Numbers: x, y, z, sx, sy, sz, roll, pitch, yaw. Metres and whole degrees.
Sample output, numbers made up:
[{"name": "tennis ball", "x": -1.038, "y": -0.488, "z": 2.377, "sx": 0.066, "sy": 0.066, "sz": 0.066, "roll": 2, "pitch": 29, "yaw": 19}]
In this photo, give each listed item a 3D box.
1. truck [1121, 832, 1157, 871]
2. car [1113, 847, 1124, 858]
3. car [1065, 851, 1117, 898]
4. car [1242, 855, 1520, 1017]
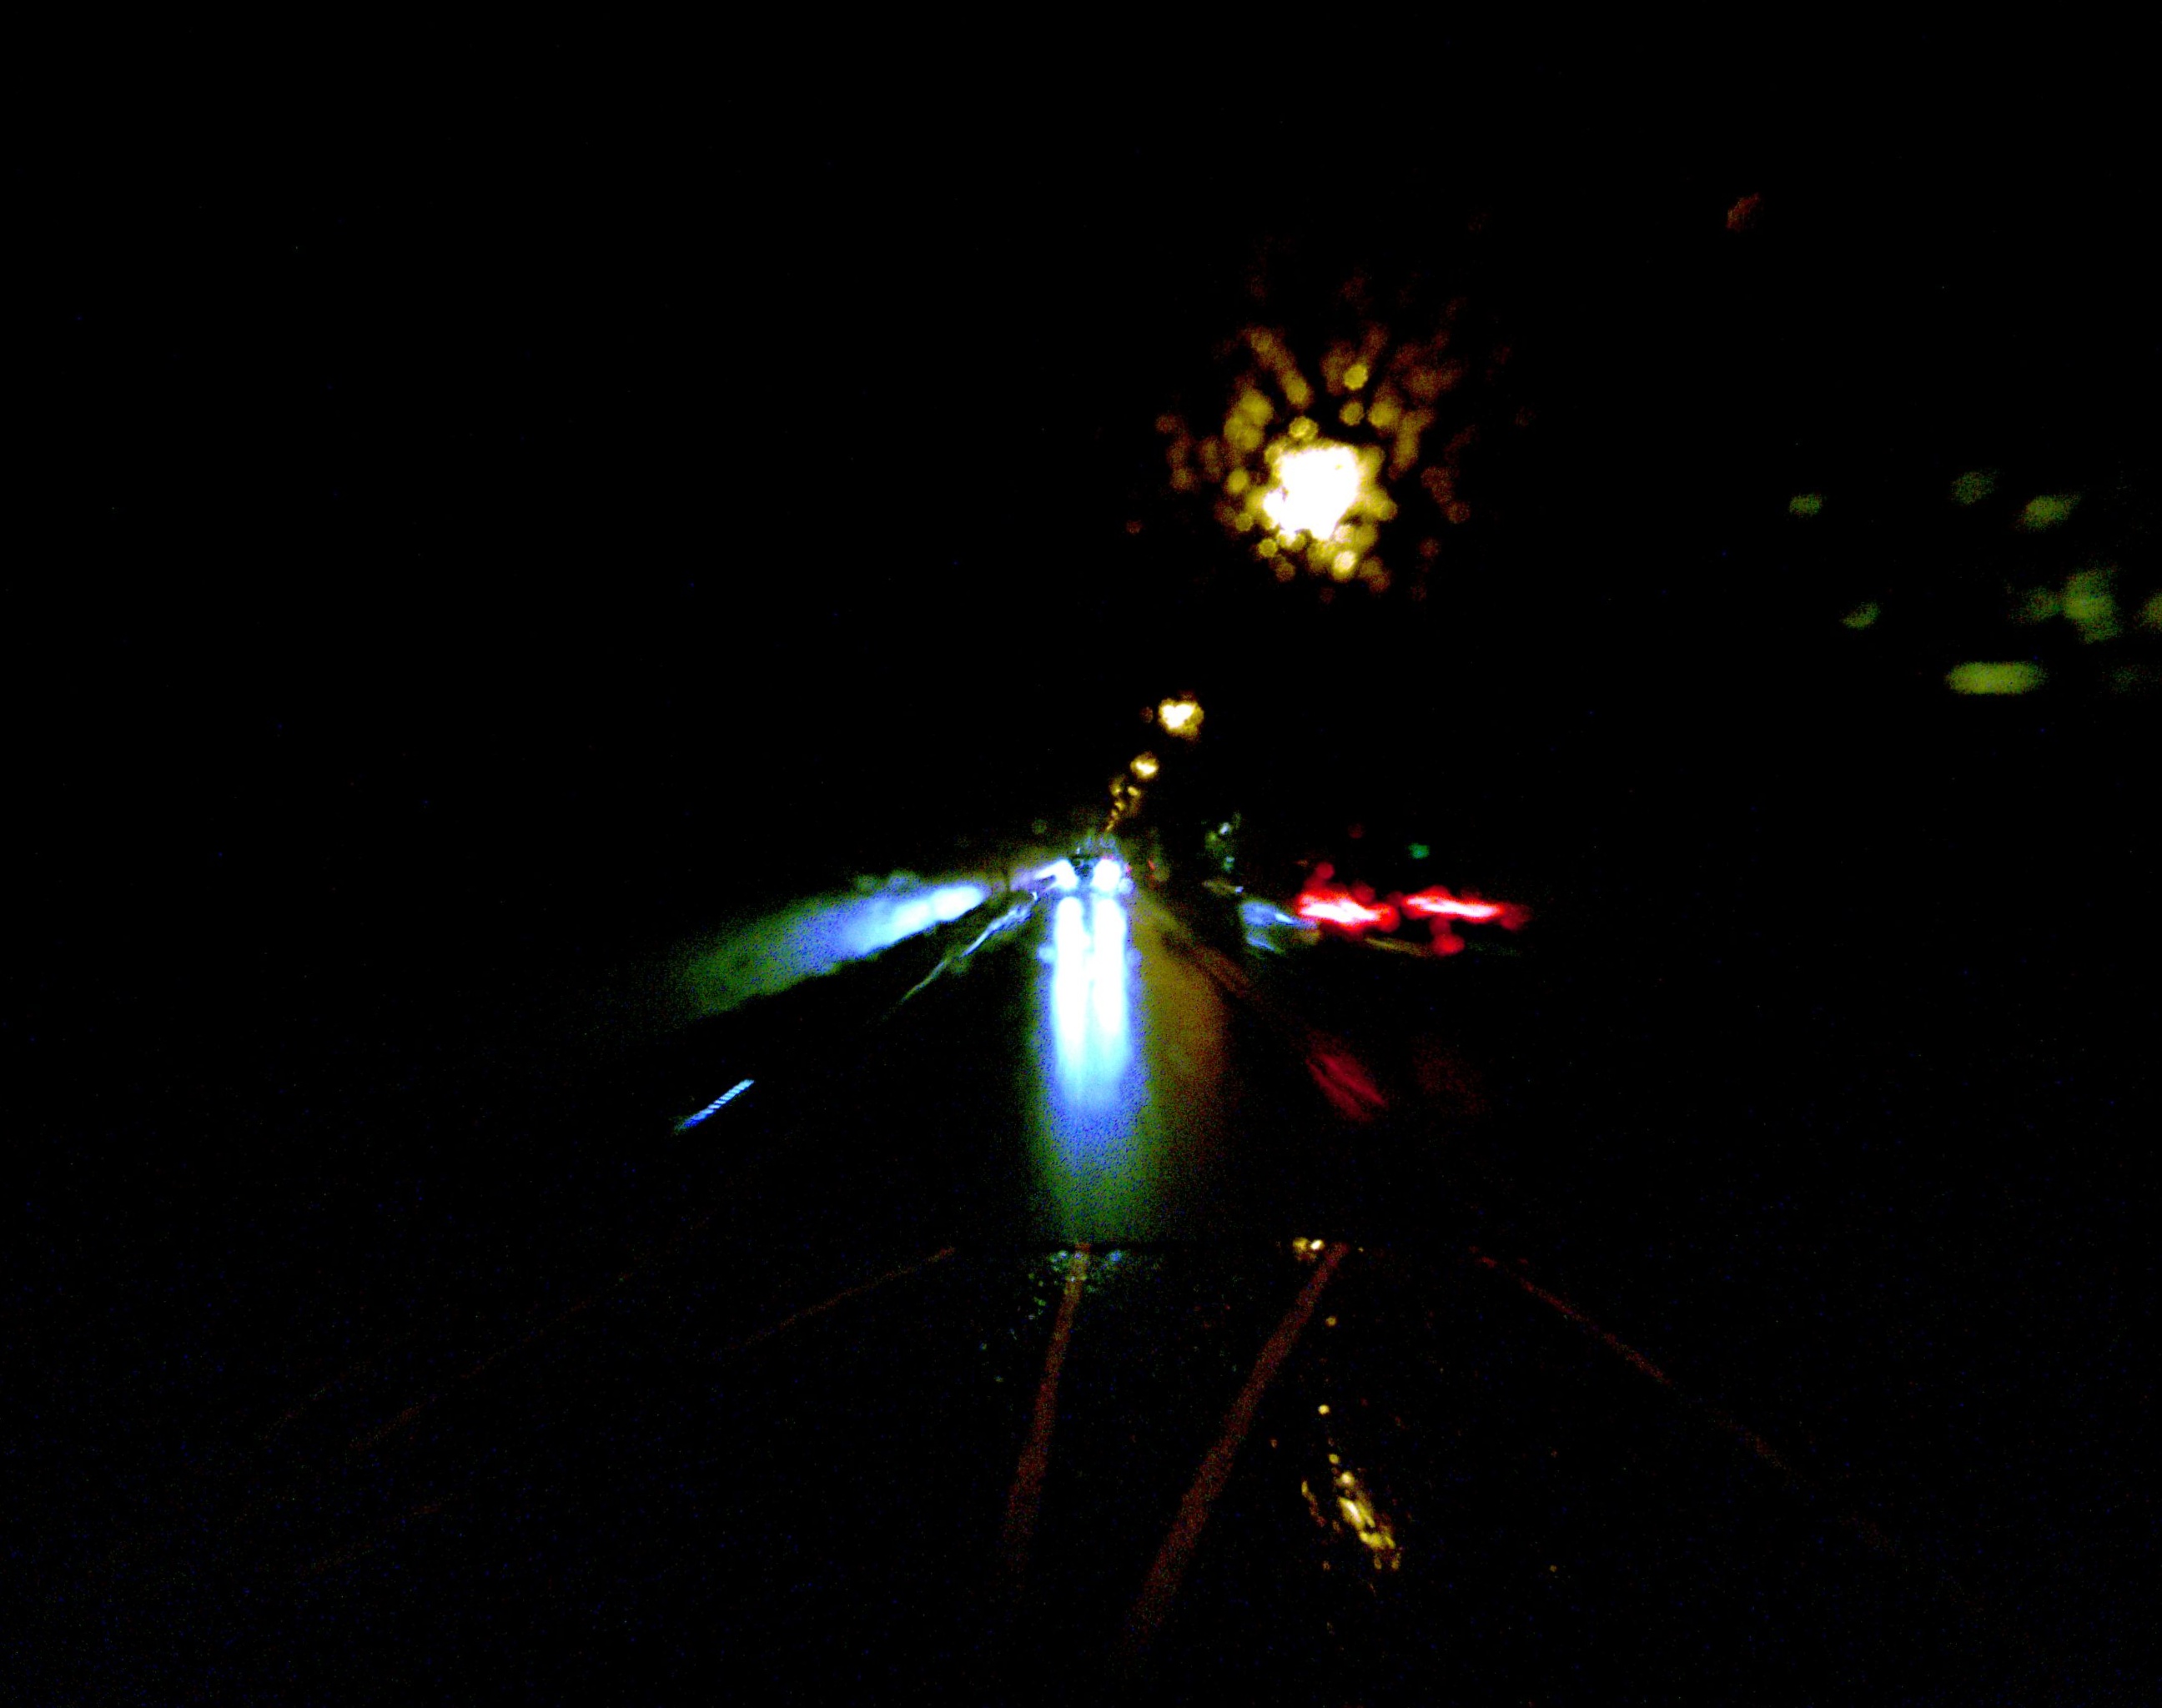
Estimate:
[{"name": "truck", "x": 4.739, "y": -0.201, "z": 62.755, "sx": 2.285, "sy": 2.999, "sz": 6.593, "roll": -3, "pitch": 0, "yaw": 0}, {"name": "car", "x": 6.558, "y": -0.308, "z": 133.866, "sx": 1.733, "sy": 1.781, "sz": 3.932, "roll": -3, "pitch": 1, "yaw": 1}, {"name": "car", "x": 0.406, "y": 0.750, "z": 29.669, "sx": 1.829, "sy": 1.650, "sz": 3.929, "roll": -2, "pitch": 1, "yaw": 1}, {"name": "car", "x": 3.307, "y": 0.791, "z": 9.267, "sx": 1.799, "sy": 1.474, "sz": 3.868, "roll": -2, "pitch": 0, "yaw": 0}]
